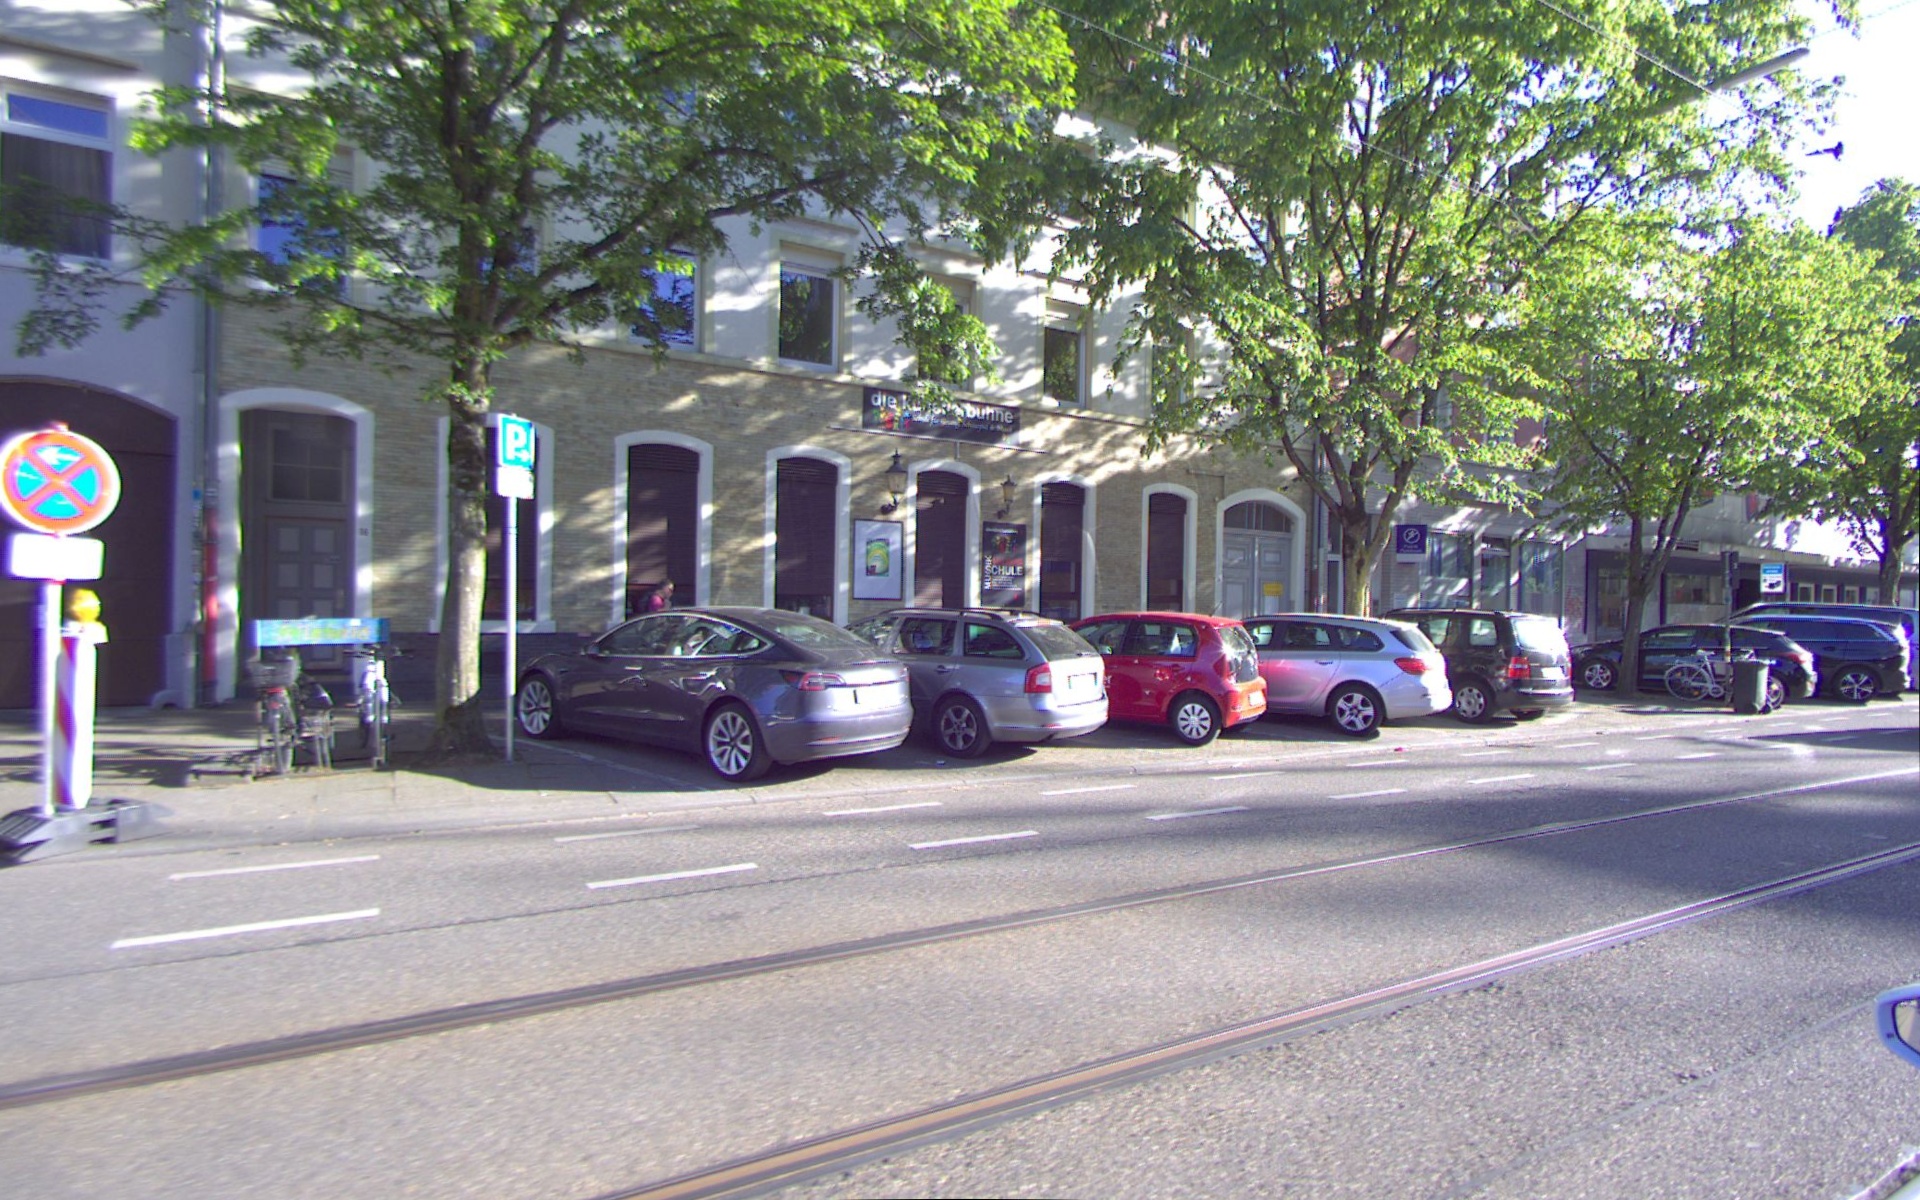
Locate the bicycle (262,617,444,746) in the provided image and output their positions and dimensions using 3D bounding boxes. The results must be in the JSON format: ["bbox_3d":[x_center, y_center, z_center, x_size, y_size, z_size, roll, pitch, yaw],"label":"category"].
[{"bbox_3d":[-5.461,0.712,9.040,1.561,1.110,0.334,0,-1,10],"label":"bicycle"}]

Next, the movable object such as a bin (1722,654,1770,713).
[{"bbox_3d":[13.713,1.446,17.517,0.569,0.925,0.572,3,3,44],"label":"movable object such as a bin"}]

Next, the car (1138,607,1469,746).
[{"bbox_3d":[4.765,0.942,14.126,4.048,1.533,1.835,2,1,34],"label":"car"}]

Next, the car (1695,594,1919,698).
[{"bbox_3d":[19.263,0.971,22.551,4.301,2.013,1.941,3,1,39],"label":"car"}]

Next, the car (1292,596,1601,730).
[{"bbox_3d":[7.591,0.877,16.083,1.820,1.700,4.081,1,2,-32],"label":"car"}]

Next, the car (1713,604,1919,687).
[{"bbox_3d":[21.095,1.069,24.533,4.227,1.689,1.905,4,2,37],"label":"car"}]

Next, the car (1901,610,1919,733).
[{"bbox_3d":[15.072,1.002,13.908,4.200,1.651,1.918,1,-1,-31],"label":"car"}]

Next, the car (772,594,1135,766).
[{"bbox_3d":[-0.111,0.763,11.164,3.620,1.490,1.749,3,1,32],"label":"car"}]

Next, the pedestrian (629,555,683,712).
[{"bbox_3d":[-4.098,0.442,13.521,0.549,2.040,0.728,1,0,-28],"label":"pedestrian"}]

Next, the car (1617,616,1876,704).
[{"bbox_3d":[15.057,1.071,19.345,3.814,1.496,1.833,0,-1,43],"label":"car"}]

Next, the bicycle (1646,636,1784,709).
[{"bbox_3d":[13.765,1.291,18.356,1.943,1.160,0.490,3,1,43],"label":"bicycle"}]

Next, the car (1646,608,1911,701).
[{"bbox_3d":[17.084,1.070,21.188,4.185,1.707,1.802,1,0,40],"label":"car"}]

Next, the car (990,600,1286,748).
[{"bbox_3d":[2.226,0.824,12.742,3.315,1.513,1.609,3,2,33],"label":"car"}]

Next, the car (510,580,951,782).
[{"bbox_3d":[-2.348,0.630,9.951,4.131,1.511,1.938,2,1,34],"label":"car"}]
